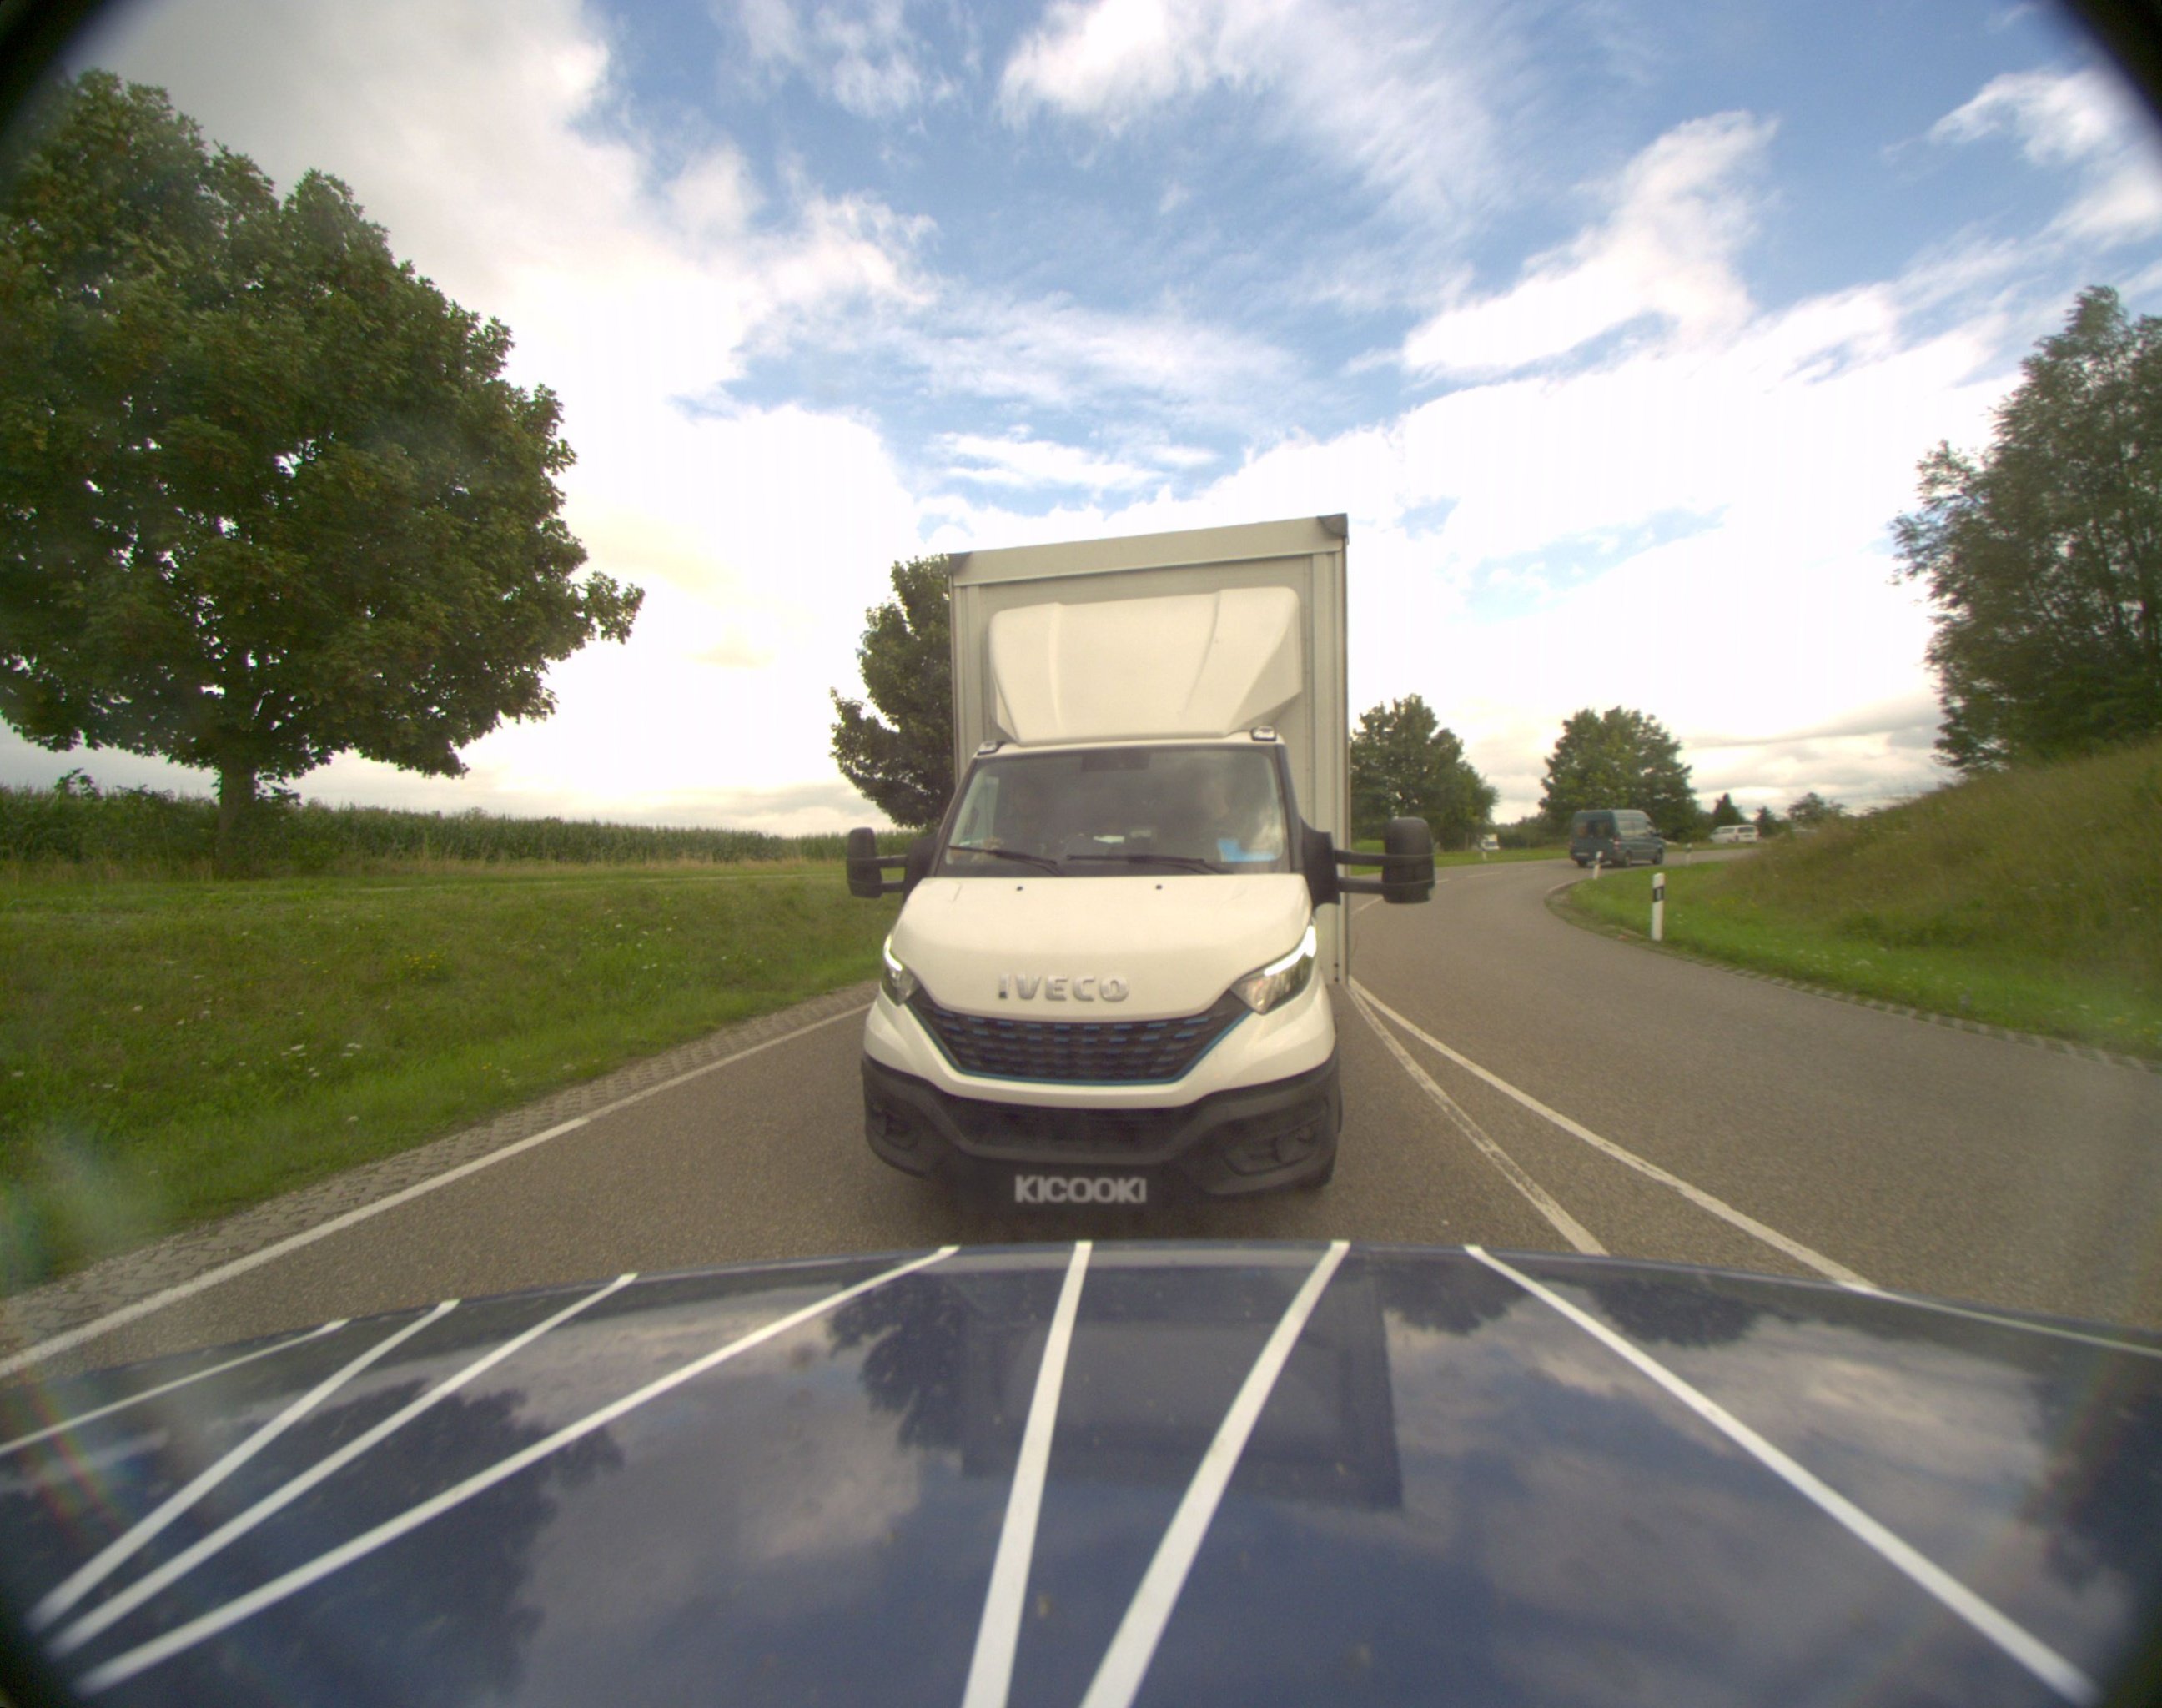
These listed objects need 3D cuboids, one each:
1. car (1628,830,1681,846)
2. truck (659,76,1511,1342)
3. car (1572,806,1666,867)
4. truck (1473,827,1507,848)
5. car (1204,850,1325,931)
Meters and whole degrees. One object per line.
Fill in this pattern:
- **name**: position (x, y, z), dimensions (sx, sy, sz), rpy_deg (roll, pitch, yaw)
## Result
- **car**: position (64.657, -1.829, 85.735), dimensions (4.393, 1.576, 2.003), rpy_deg (-2, 0, 27)
- **truck**: position (0.733, -0.402, 6.839), dimensions (2.834, 3.741, 8.807), rpy_deg (-1, 0, 11)
- **car**: position (24.849, -0.805, 35.030), dimensions (5.131, 2.615, 1.994), rpy_deg (-1, 2, -36)
- **truck**: position (50.481, -2.025, 93.919), dimensions (2.288, 2.407, 6.389), rpy_deg (-2, 0, 15)
- **car**: position (3.989, 0.685, 16.023), dimensions (1.747, 1.457, 4.006), rpy_deg (-2, 0, 24)
